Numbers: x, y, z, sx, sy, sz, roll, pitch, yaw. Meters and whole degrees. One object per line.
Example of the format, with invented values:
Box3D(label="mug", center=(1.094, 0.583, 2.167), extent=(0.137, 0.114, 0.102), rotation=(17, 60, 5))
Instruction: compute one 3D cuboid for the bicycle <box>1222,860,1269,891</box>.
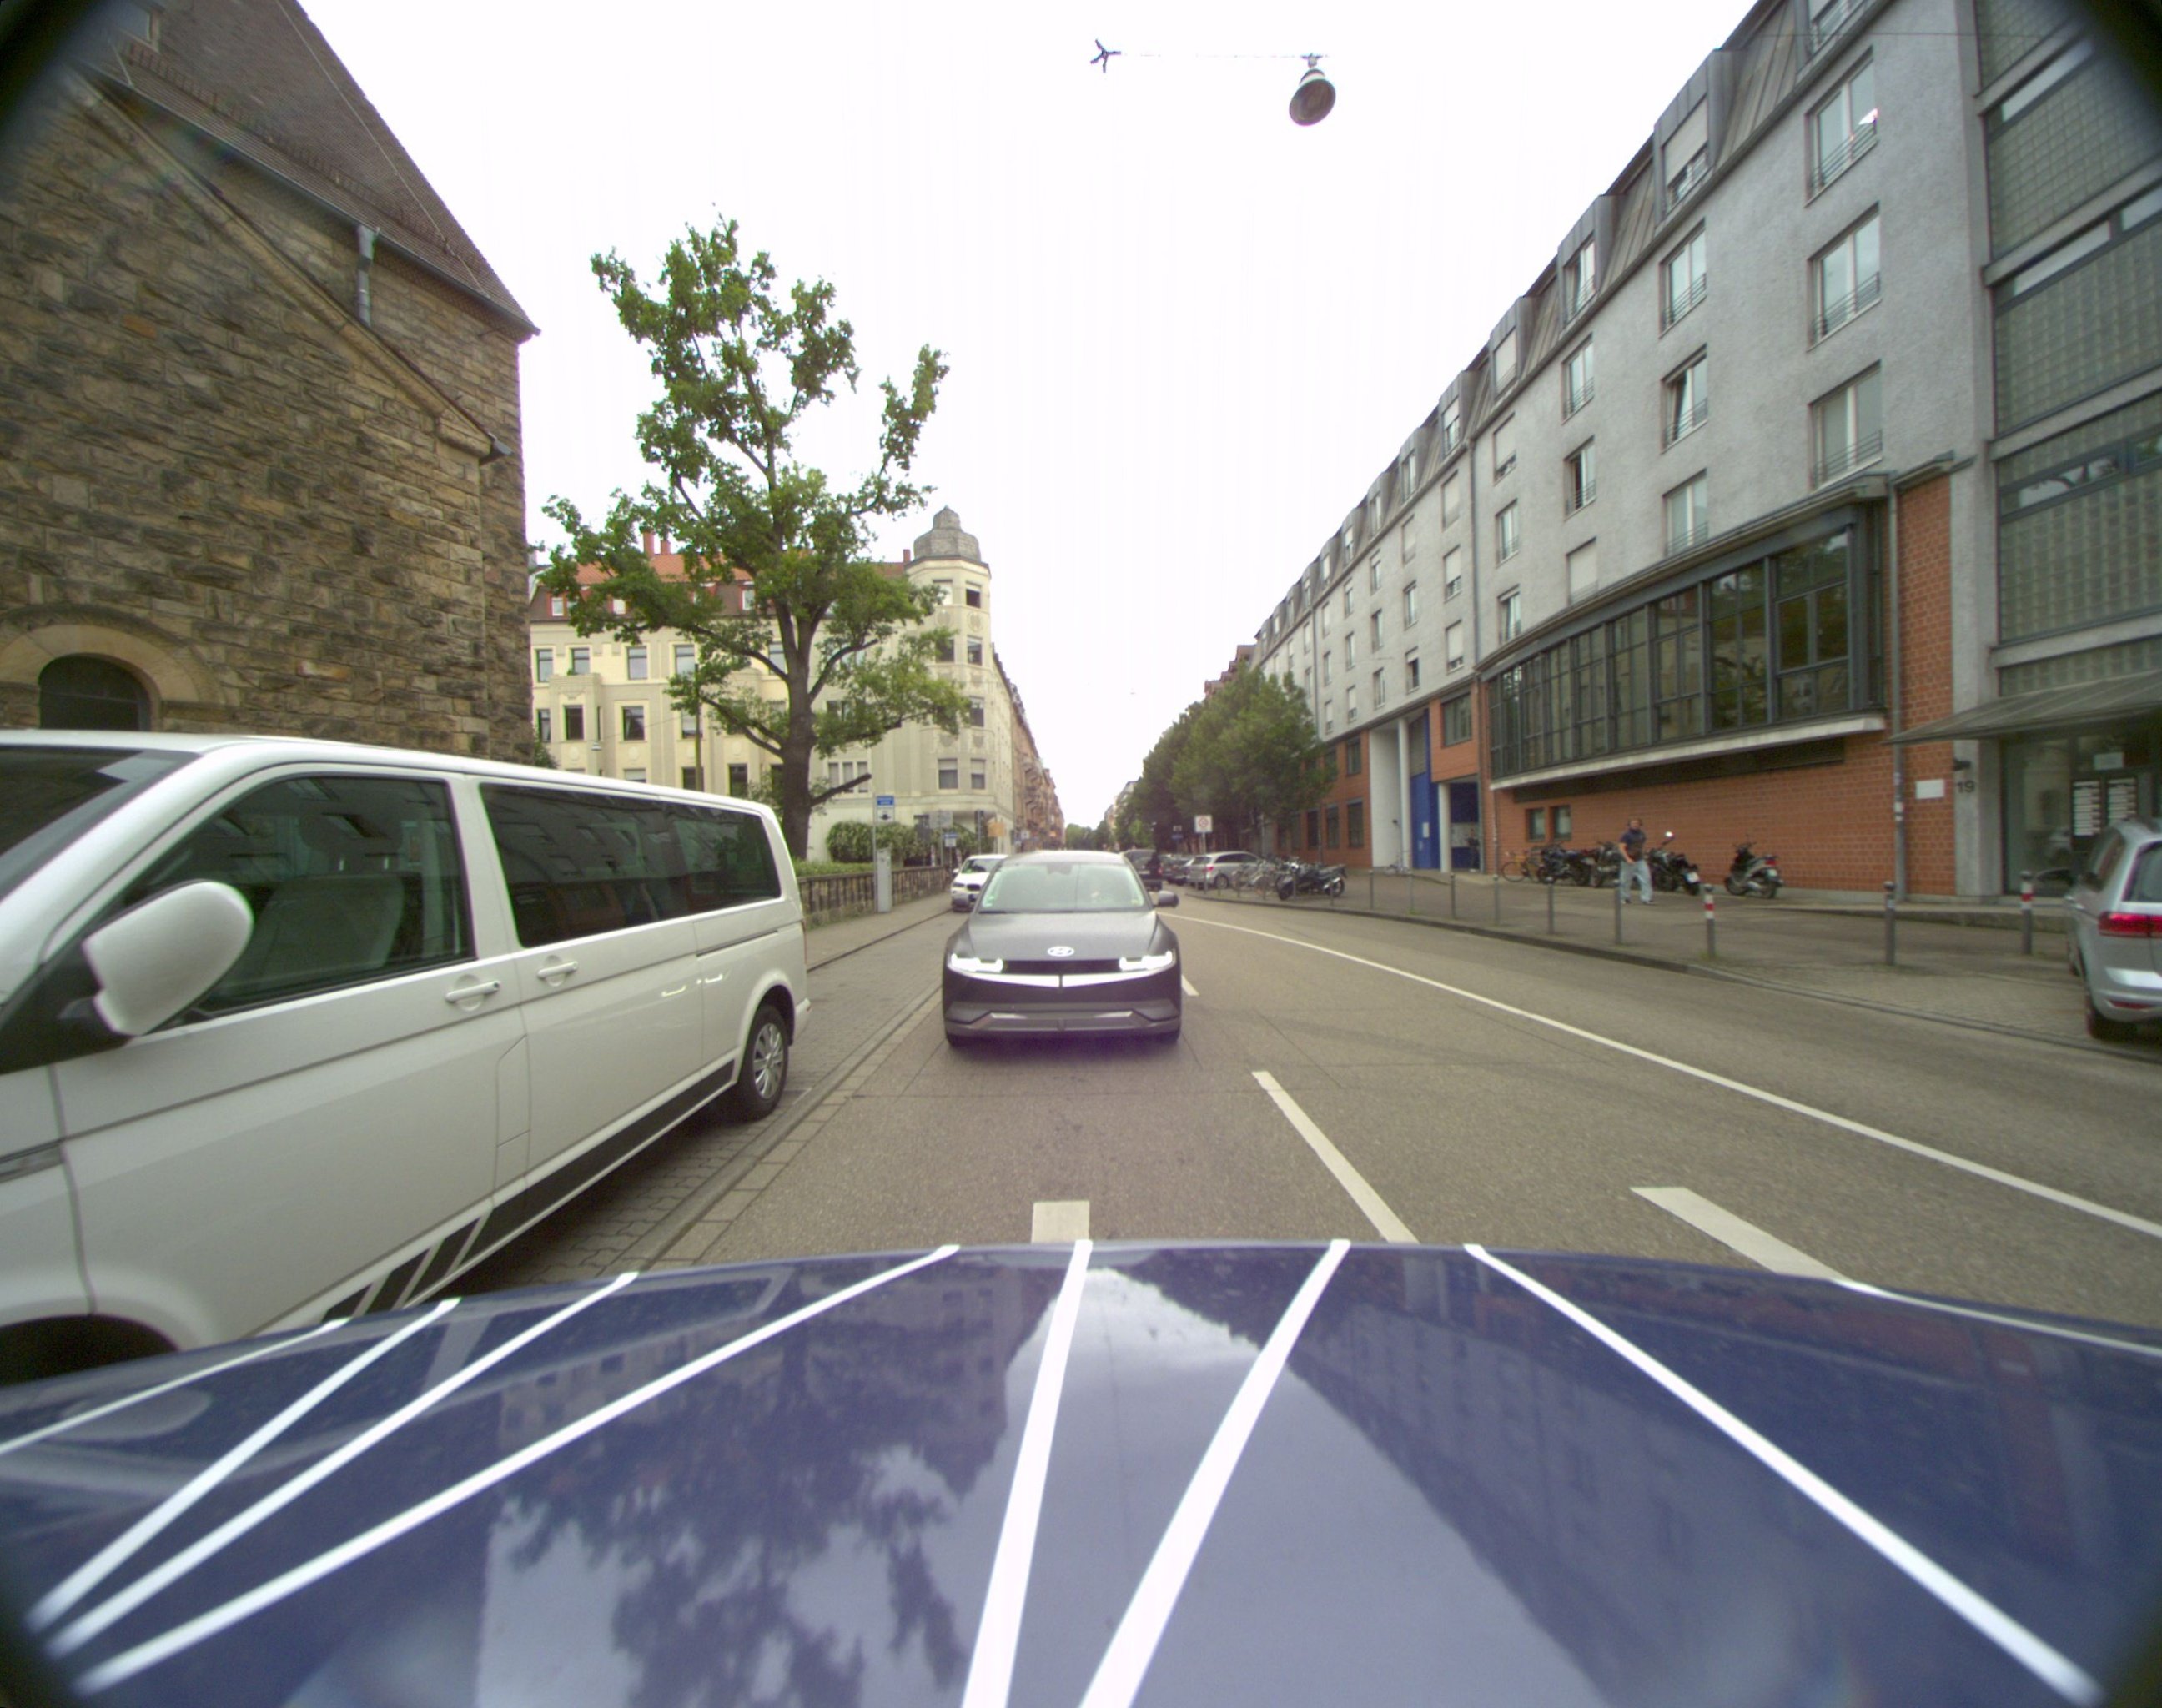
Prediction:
Box3D(label="bicycle", center=(6.258, 0.800, 28.895), extent=(1.630, 1.067, 0.416), rotation=(-3, 1, -1))

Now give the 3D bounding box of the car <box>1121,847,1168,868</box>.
Box3D(label="car", center=(6.126, 0.380, 73.612), extent=(4.004, 1.898, 1.996), rotation=(-2, 0, -22))

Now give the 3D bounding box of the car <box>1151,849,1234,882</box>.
Box3D(label="car", center=(6.048, 0.599, 41.369), extent=(4.004, 1.619, 1.996), rotation=(-2, 0, -22))

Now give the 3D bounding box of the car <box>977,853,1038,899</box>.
Box3D(label="car", center=(-2.671, 0.769, 28.406), extent=(1.820, 1.556, 4.000), rotation=(-2, 0, 1))

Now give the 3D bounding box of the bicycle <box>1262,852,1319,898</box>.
Box3D(label="bicycle", center=(6.603, 0.651, 23.997), extent=(1.630, 1.345, 0.416), rotation=(-3, 1, -1))

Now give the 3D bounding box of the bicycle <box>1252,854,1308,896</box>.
Box3D(label="bicycle", center=(6.450, 0.673, 24.666), extent=(1.630, 1.282, 0.416), rotation=(-3, 1, -1))

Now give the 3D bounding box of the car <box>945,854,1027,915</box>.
Box3D(label="car", center=(-2.678, 0.822, 22.388), extent=(1.820, 1.556, 4.000), rotation=(-2, 0, 1))

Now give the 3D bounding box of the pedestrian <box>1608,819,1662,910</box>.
Box3D(label="pedestrian", center=(11.369, 0.211, 15.615), extent=(0.621, 1.812, 0.642), rotation=(-2, 1, 1))

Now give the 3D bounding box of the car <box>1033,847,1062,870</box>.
Box3D(label="car", center=(-2.376, 0.315, 54.855), extent=(1.820, 1.556, 4.000), rotation=(-2, 0, 1))

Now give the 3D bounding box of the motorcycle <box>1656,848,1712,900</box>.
Box3D(label="motorcycle", center=(13.334, 0.417, 16.856), extent=(0.445, 1.091, 1.765), rotation=(-1, 0, 21))

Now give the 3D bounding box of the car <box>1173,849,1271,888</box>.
Box3D(label="car", center=(6.555, 0.639, 35.381), extent=(4.004, 1.619, 1.996), rotation=(-2, 0, -22))

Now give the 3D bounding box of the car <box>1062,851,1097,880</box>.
Box3D(label="car", center=(-0.058, 0.658, 45.975), extent=(1.910, 1.597, 4.251), rotation=(-2, 1, 2))

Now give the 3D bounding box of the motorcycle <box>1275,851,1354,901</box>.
Box3D(label="motorcycle", center=(6.979, 0.654, 22.768), extent=(2.124, 1.345, 0.599), rotation=(-3, 1, 1))

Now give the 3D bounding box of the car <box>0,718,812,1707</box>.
Box3D(label="car", center=(-2.760, 0.740, 2.638), extent=(1.810, 1.908, 5.163), rotation=(-2, 0, -1))

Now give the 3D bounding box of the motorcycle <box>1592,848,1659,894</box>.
Box3D(label="motorcycle", center=(13.669, 0.405, 19.134), extent=(0.446, 1.091, 1.763), rotation=(-2, 0, 1))

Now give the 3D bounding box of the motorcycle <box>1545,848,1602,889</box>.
Box3D(label="motorcycle", center=(13.667, 0.378, 21.141), extent=(0.446, 1.091, 1.763), rotation=(-2, 0, 1))

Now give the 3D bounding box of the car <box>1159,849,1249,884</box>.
Box3D(label="car", center=(6.235, 0.619, 38.599), extent=(4.004, 1.619, 1.996), rotation=(-2, 0, -22))

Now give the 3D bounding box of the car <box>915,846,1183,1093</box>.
Box3D(label="car", center=(-0.196, 0.803, 7.299), extent=(1.820, 1.675, 4.000), rotation=(-2, 0, 1))

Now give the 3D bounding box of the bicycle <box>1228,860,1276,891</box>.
Box3D(label="bicycle", center=(6.397, 0.800, 28.436), extent=(1.630, 1.067, 0.416), rotation=(-3, 1, -1))

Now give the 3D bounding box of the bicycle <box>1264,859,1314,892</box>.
Box3D(label="bicycle", center=(7.469, 0.771, 27.303), extent=(1.630, 1.067, 0.416), rotation=(-3, 1, -1))

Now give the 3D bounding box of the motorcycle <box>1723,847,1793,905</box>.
Box3D(label="motorcycle", center=(13.535, 0.412, 15.240), extent=(0.445, 1.091, 1.765), rotation=(-1, 0, 21))

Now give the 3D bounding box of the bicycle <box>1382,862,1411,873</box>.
Box3D(label="bicycle", center=(13.420, 0.574, 32.368), extent=(1.010, 0.434, 0.527), rotation=(-2, 2, 2))

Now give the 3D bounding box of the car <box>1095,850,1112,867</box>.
Box3D(label="car", center=(2.763, 0.508, 92.439), extent=(1.998, 1.897, 4.000), rotation=(-2, 0, 1))

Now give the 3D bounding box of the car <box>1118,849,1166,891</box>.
Box3D(label="car", center=(2.731, 0.682, 34.684), extent=(1.698, 1.793, 4.128), rotation=(-1, 0, -2))

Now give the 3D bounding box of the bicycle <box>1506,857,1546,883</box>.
Box3D(label="bicycle", center=(13.878, 0.490, 23.725), extent=(0.336, 0.783, 1.581), rotation=(-2, 0, 1))

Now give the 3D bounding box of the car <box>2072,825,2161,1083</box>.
Box3D(label="car", center=(9.031, 0.594, 5.753), extent=(4.006, 1.545, 1.729), rotation=(-4, 1, -39))

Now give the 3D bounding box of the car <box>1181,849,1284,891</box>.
Box3D(label="car", center=(6.540, 0.657, 32.721), extent=(4.004, 1.619, 1.769), rotation=(-2, 0, -22))

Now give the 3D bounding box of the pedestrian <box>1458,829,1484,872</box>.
Box3D(label="pedestrian", center=(15.326, -0.145, 29.866), extent=(0.686, 1.640, 0.622), rotation=(-2, 1, 2))

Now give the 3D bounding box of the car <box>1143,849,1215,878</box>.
Box3D(label="car", center=(6.096, 0.586, 47.315), extent=(4.004, 1.619, 1.996), rotation=(-2, 0, -22))
